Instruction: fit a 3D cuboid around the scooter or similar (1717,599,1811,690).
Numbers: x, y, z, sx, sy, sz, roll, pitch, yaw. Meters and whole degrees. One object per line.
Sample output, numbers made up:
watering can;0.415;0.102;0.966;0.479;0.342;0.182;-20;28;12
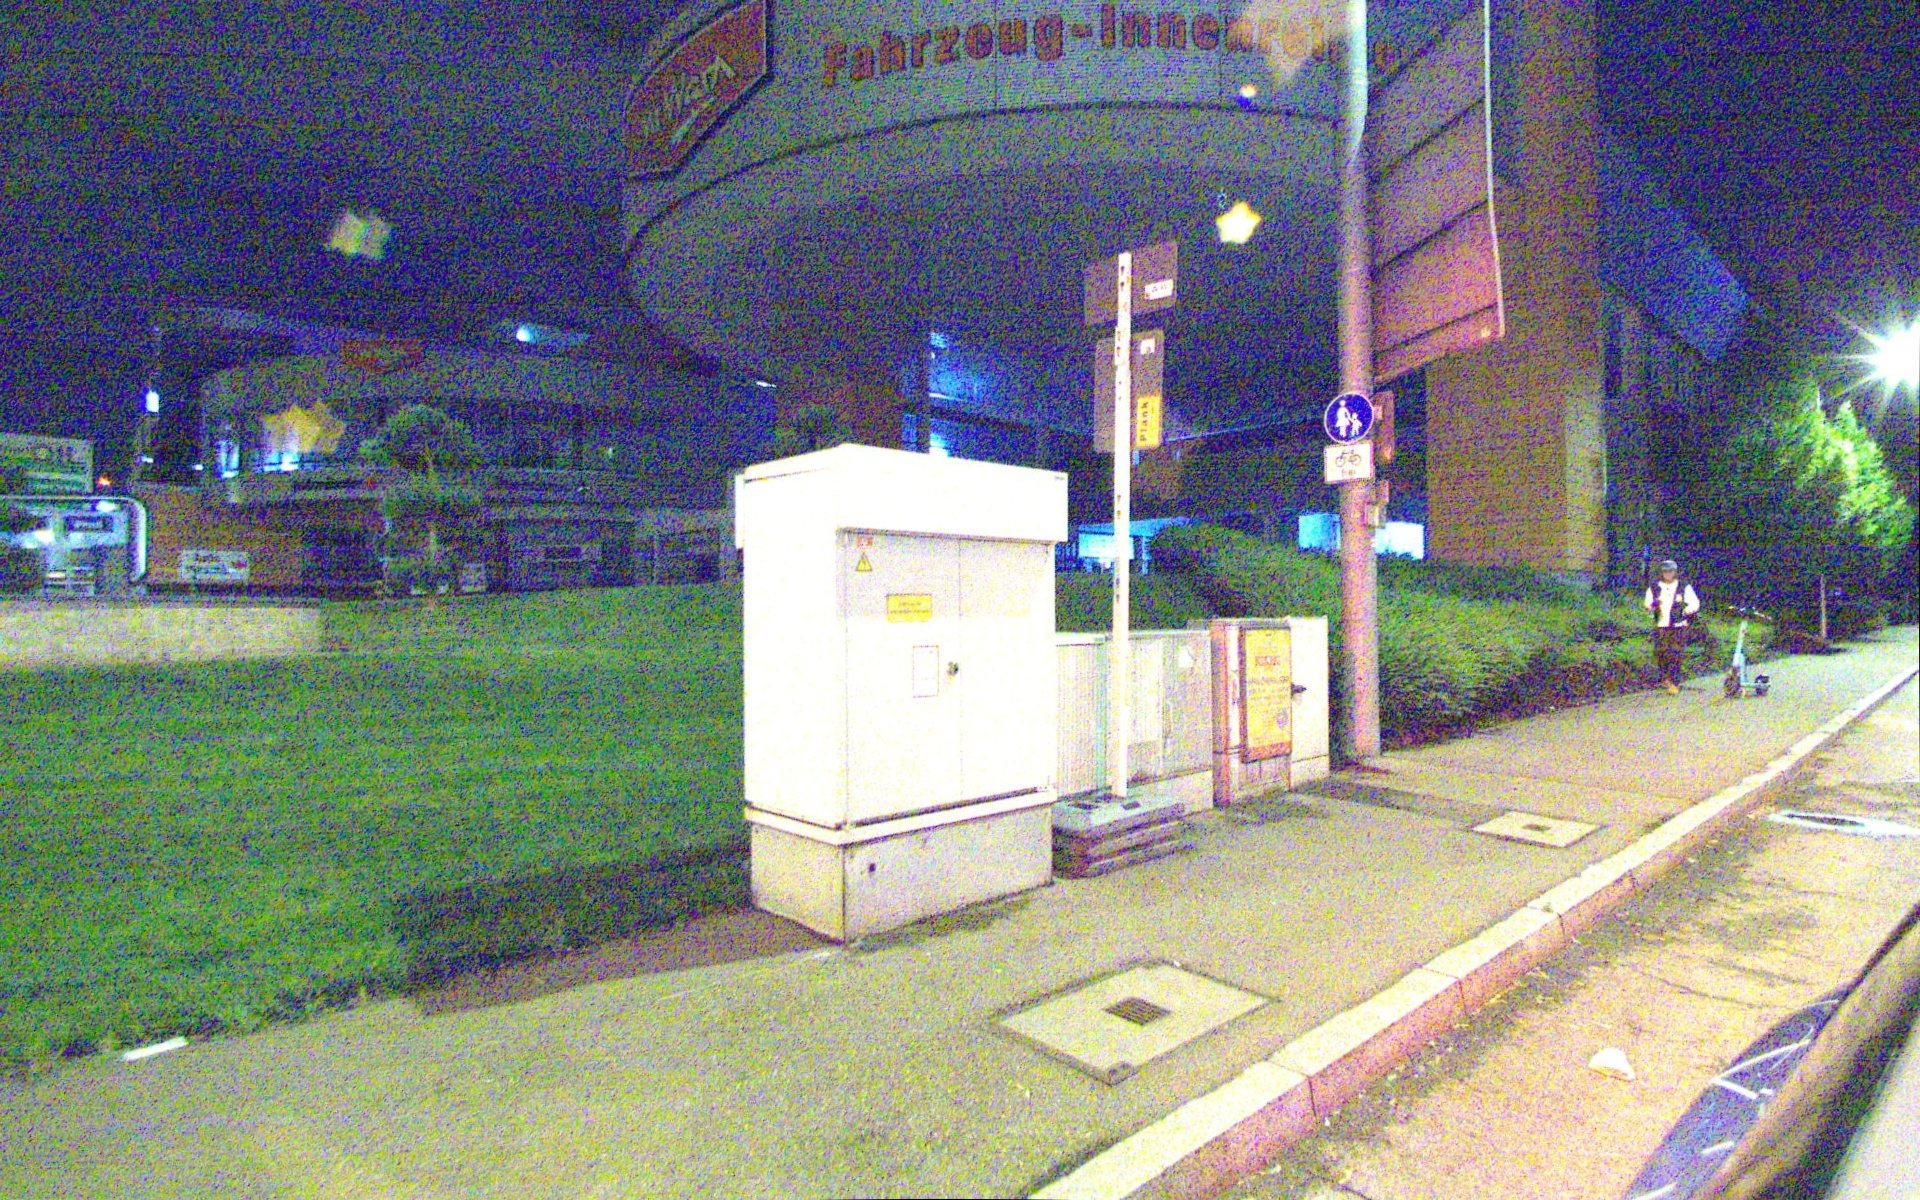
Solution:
scooter or similar;11.132;0.606;14.010;1.111;1.217;0.470;1;-1;-17

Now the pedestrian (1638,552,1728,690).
pedestrian;10.327;0.278;14.449;1.016;1.888;0.819;0;0;-41
